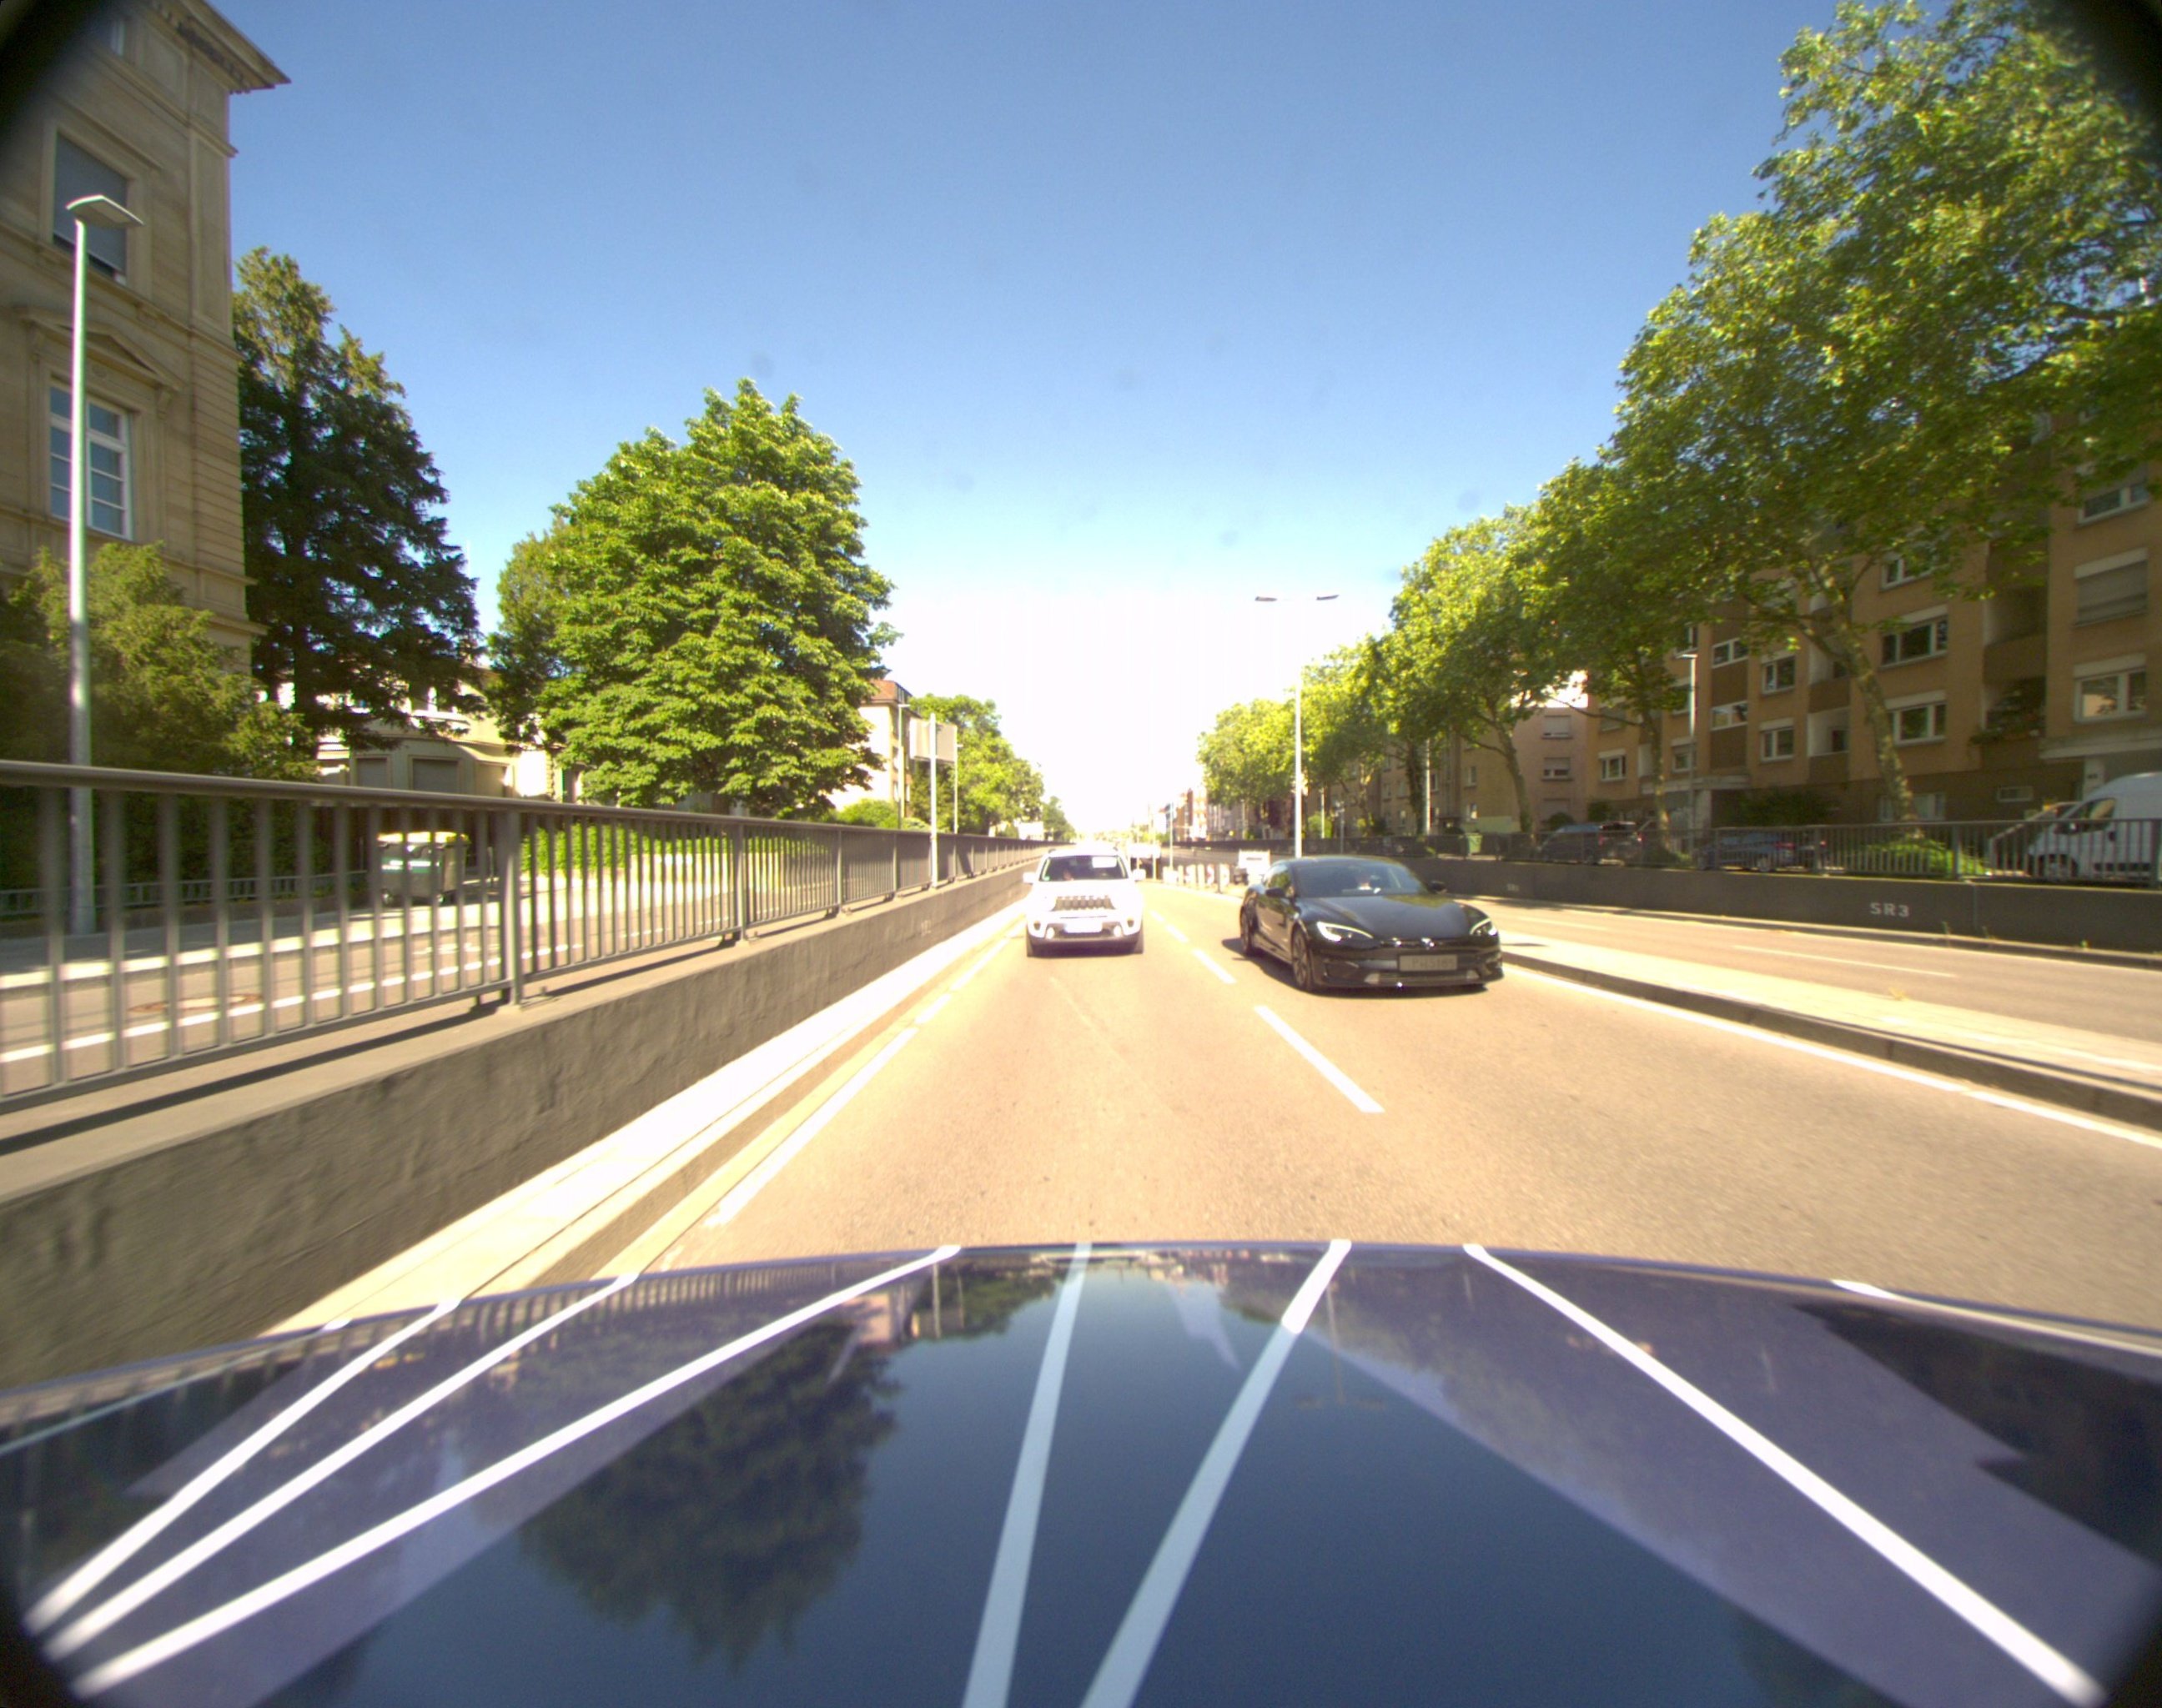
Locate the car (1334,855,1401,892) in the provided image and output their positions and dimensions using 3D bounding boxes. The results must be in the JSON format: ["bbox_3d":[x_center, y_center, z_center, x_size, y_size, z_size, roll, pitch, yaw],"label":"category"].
[{"bbox_3d":[12.224,0.794,32.603,1.662,1.465,3.298,1,0,1],"label":"car"}]

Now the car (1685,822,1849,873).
[{"bbox_3d":[22.920,-0.196,25.631,1.998,1.571,4.001,1,0,2],"label":"car"}]

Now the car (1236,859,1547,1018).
[{"bbox_3d":[3.307,0.793,9.254,1.930,1.403,4.626,-1,0,1],"label":"car"}]

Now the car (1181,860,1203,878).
[{"bbox_3d":[13.254,1.726,90.680,1.999,2.002,3.999,-1,1,-1],"label":"car"}]

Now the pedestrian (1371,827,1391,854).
[{"bbox_3d":[20.696,-0.913,52.476,0.901,1.789,1.019,1,0,-3],"label":"pedestrian"}]

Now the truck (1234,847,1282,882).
[{"bbox_3d":[12.653,0.740,54.567,2.285,2.380,5.368,1,0,1],"label":"truck"}]

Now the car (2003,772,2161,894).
[{"bbox_3d":[22.648,-0.394,15.118,2.250,2.431,5.288,1,0,2],"label":"car"}]

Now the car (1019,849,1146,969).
[{"bbox_3d":[0.048,0.798,12.770,1.744,1.648,3.690,-3,0,1],"label":"car"}]

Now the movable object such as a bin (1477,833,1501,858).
[{"bbox_3d":[26.849,-0.566,50.060,0.885,1.632,1.253,1,0,1],"label":"movable object such as a bin"}]

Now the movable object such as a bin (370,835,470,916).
[{"bbox_3d":[-11.947,0.370,13.792,0.975,1.390,1.285,1,0,-21],"label":"movable object such as a bin"}]

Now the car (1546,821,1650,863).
[{"bbox_3d":[23.002,-0.496,34.014,1.998,1.742,4.001,-1,0,2],"label":"car"}]

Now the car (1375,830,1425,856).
[{"bbox_3d":[23.458,-0.769,56.080,1.998,1.839,4.000,1,0,1],"label":"car"}]
